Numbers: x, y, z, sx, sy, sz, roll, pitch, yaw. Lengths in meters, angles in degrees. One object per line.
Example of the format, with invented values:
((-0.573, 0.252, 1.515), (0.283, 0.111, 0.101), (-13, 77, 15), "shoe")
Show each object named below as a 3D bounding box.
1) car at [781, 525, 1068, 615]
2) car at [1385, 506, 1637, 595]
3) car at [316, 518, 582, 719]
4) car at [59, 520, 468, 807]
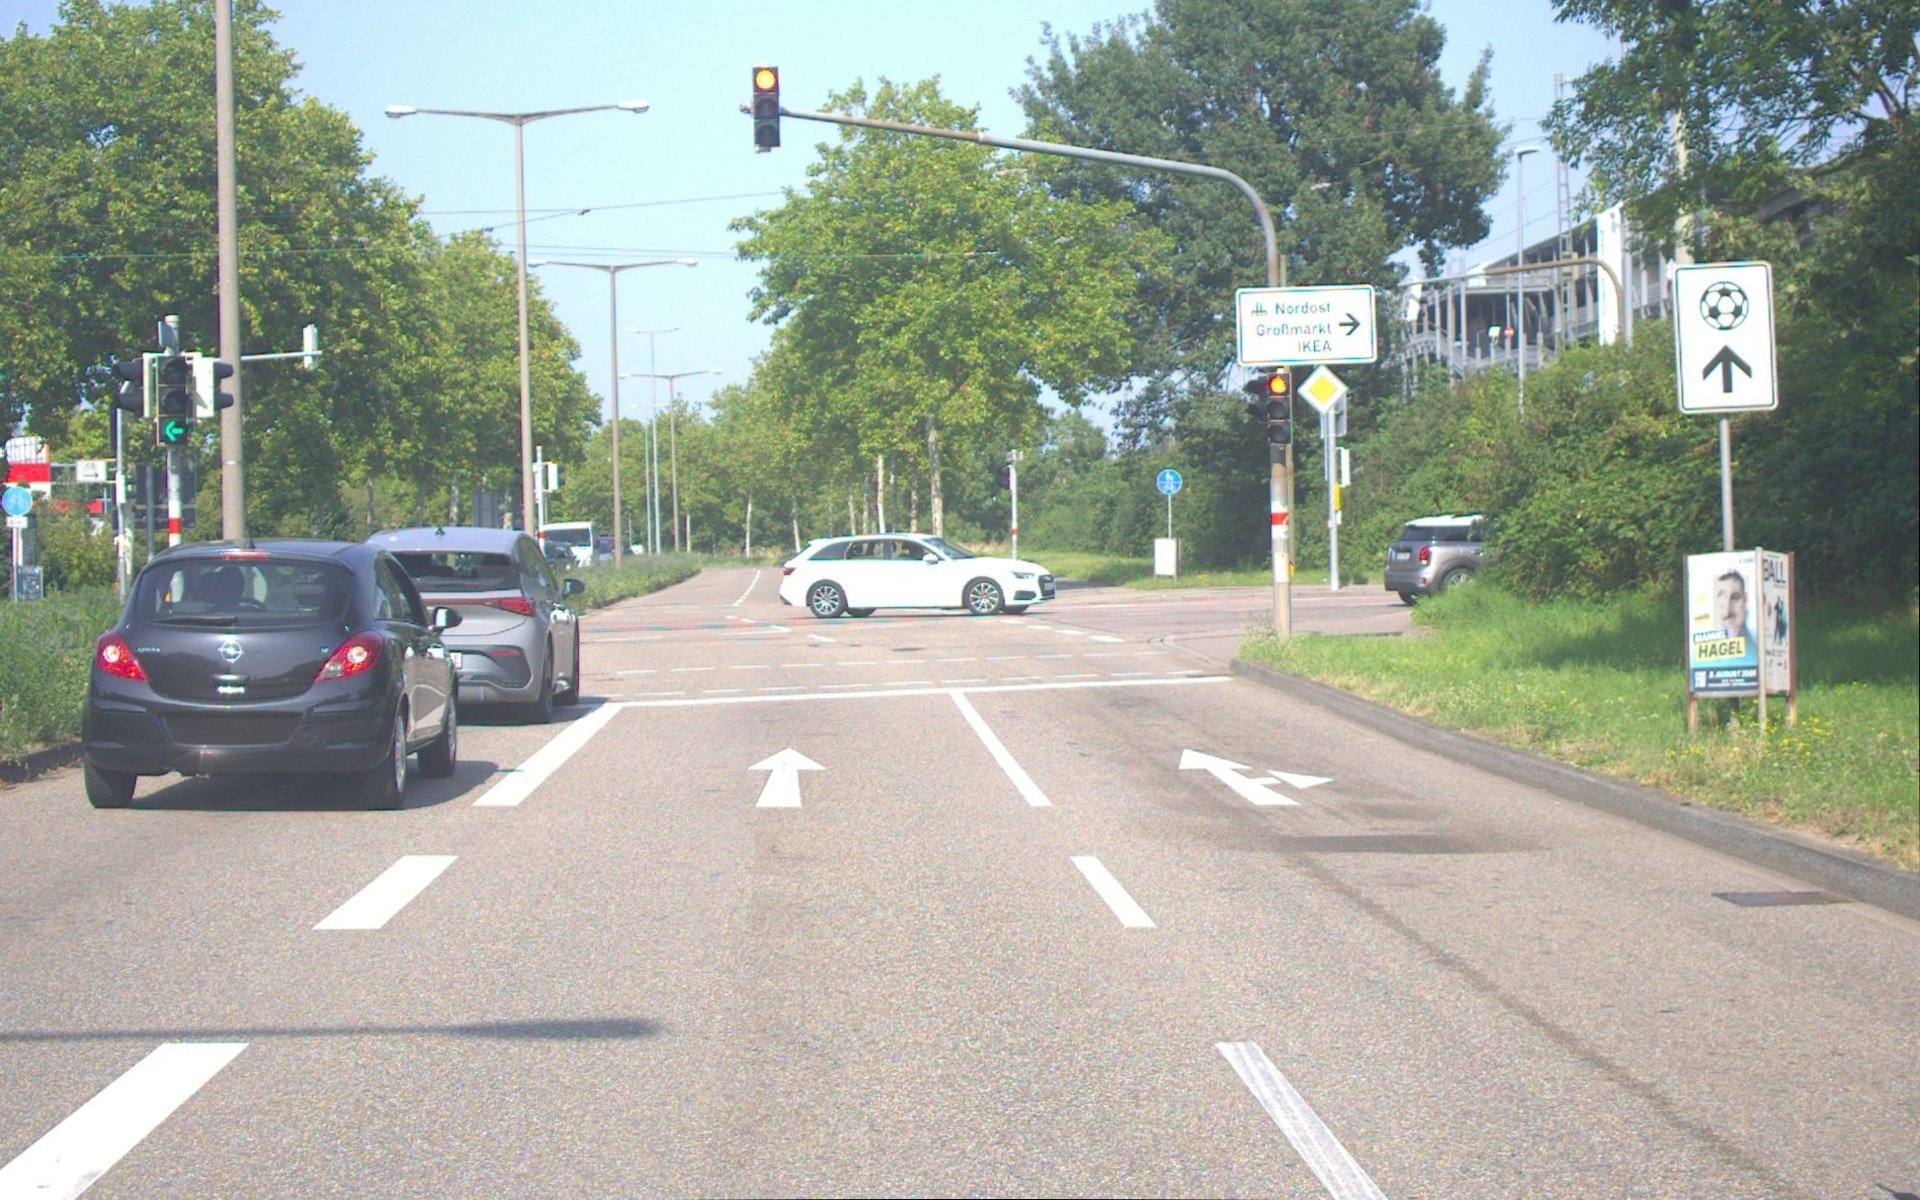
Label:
((-0.612, -0.529, 58.800), (4.612, 1.480, 1.696), (1, 1, 20), "car")
((9.406, -0.846, 58.805), (3.965, 1.480, 1.626), (0, 1, -6), "car")
((-4.092, 0.093, 28.041), (1.692, 1.480, 4.001), (-1, 1, -2), "car")
((-3.895, 0.293, 19.824), (1.692, 1.481, 4.001), (0, 1, -2), "car")
